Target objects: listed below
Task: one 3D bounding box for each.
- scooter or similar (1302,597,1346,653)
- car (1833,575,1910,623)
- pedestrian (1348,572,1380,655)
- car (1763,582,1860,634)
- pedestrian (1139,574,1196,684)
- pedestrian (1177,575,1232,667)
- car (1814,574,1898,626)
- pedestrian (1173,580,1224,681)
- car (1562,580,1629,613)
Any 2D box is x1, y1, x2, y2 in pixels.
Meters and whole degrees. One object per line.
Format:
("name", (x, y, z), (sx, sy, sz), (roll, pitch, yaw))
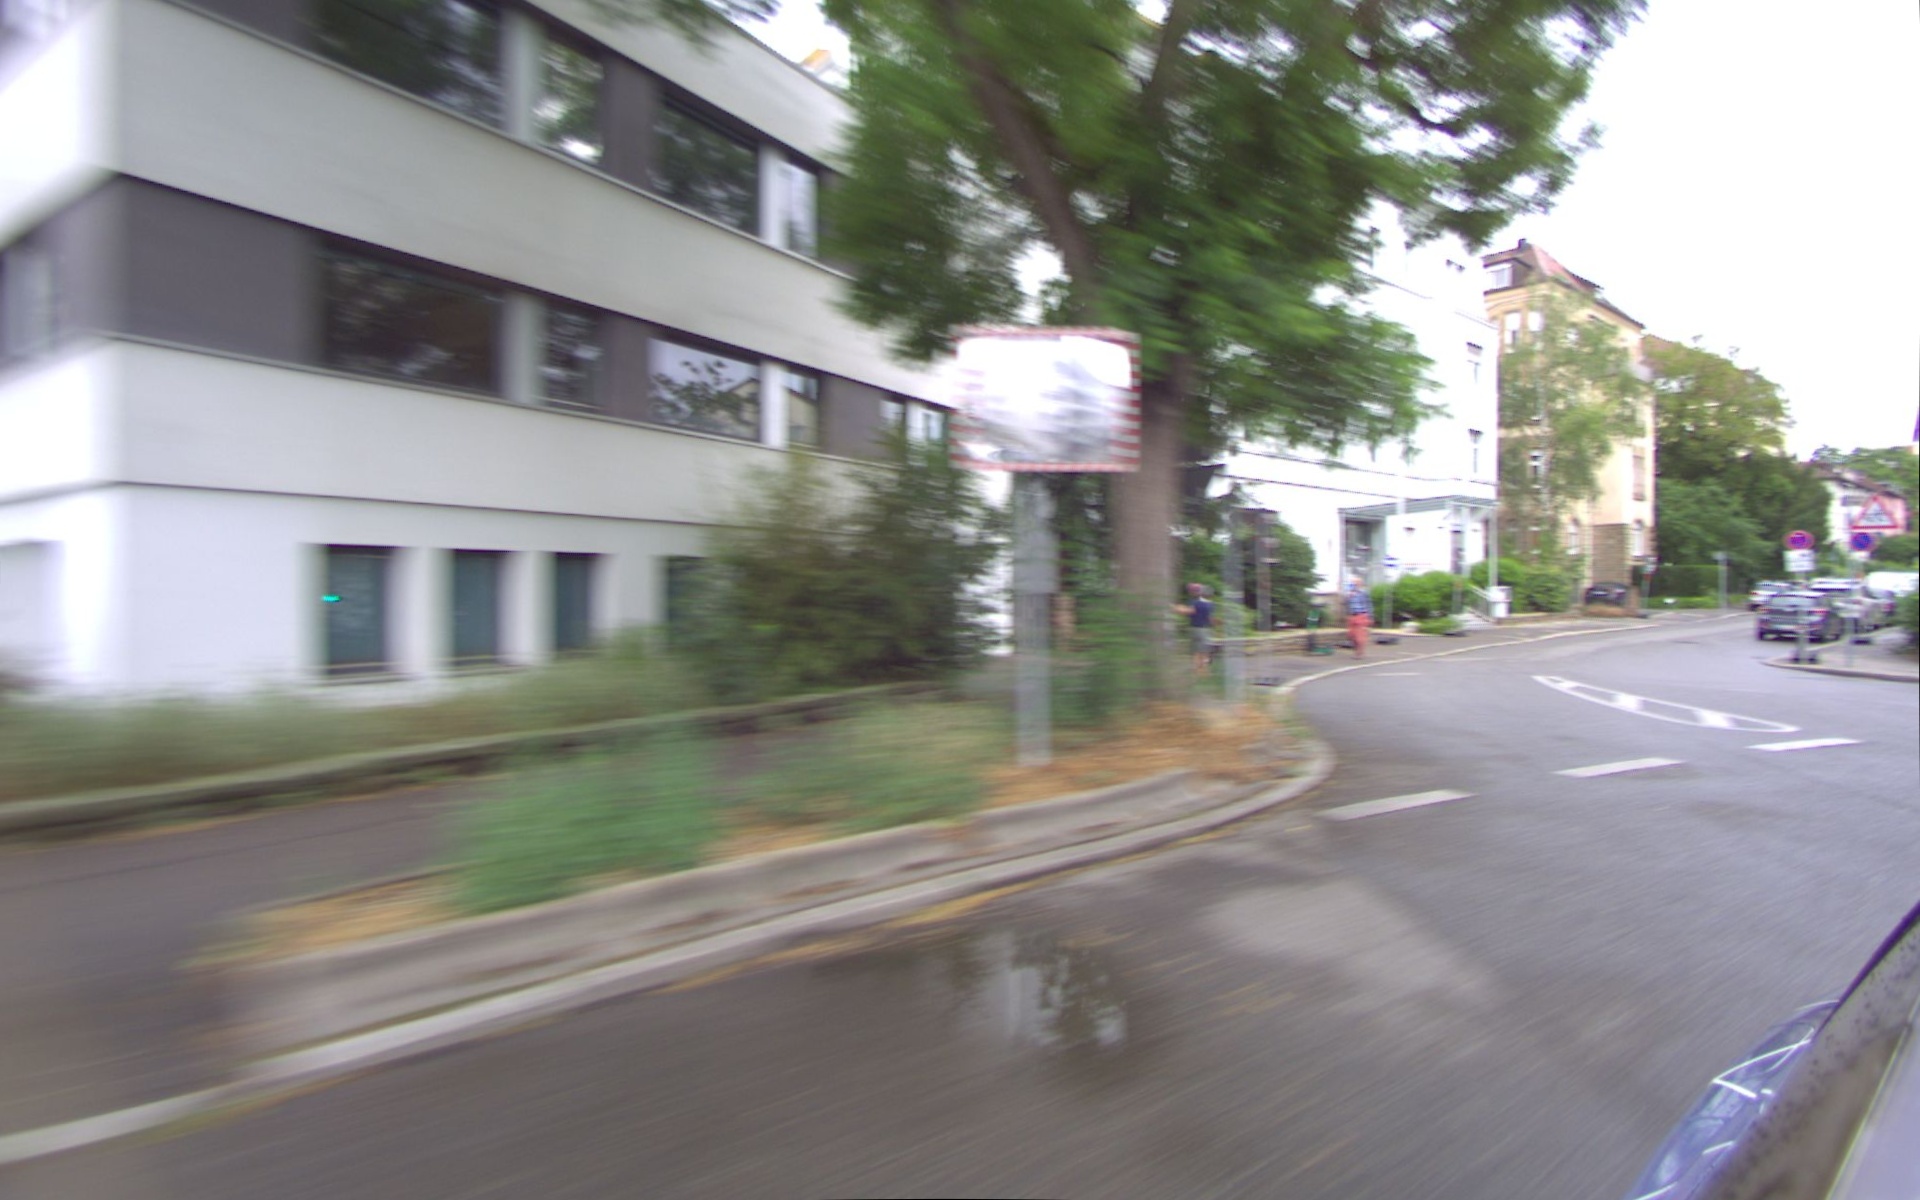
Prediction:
("scooter or similar", (8.903, 0.593, 24.765), (1.081, 1.306, 0.464), (-2, 1, -36))
("car", (34.757, -0.016, 38.565), (3.737, 1.711, 1.692), (1, 1, -41))
("pedestrian", (9.705, 0.301, 24.314), (0.539, 1.947, 0.907), (2, 1, 31))
("car", (26.080, 0.242, 30.955), (3.737, 1.460, 1.692), (1, 1, -41))
("pedestrian", (3.099, 0.436, 15.152), (0.534, 1.586, 0.603), (4, -2, -22))
("pedestrian", (4.780, 0.414, 19.777), (0.742, 1.721, 0.663), (4, -1, 39))
("car", (31.243, -0.001, 35.267), (3.737, 1.711, 1.692), (1, 1, -41))
("pedestrian", (3.977, 0.512, 16.899), (0.544, 1.650, 0.592), (1, -3, 44))
("car", (30.543, -0.171, 48.590), (3.567, 1.358, 1.599), (4, -2, -38))
